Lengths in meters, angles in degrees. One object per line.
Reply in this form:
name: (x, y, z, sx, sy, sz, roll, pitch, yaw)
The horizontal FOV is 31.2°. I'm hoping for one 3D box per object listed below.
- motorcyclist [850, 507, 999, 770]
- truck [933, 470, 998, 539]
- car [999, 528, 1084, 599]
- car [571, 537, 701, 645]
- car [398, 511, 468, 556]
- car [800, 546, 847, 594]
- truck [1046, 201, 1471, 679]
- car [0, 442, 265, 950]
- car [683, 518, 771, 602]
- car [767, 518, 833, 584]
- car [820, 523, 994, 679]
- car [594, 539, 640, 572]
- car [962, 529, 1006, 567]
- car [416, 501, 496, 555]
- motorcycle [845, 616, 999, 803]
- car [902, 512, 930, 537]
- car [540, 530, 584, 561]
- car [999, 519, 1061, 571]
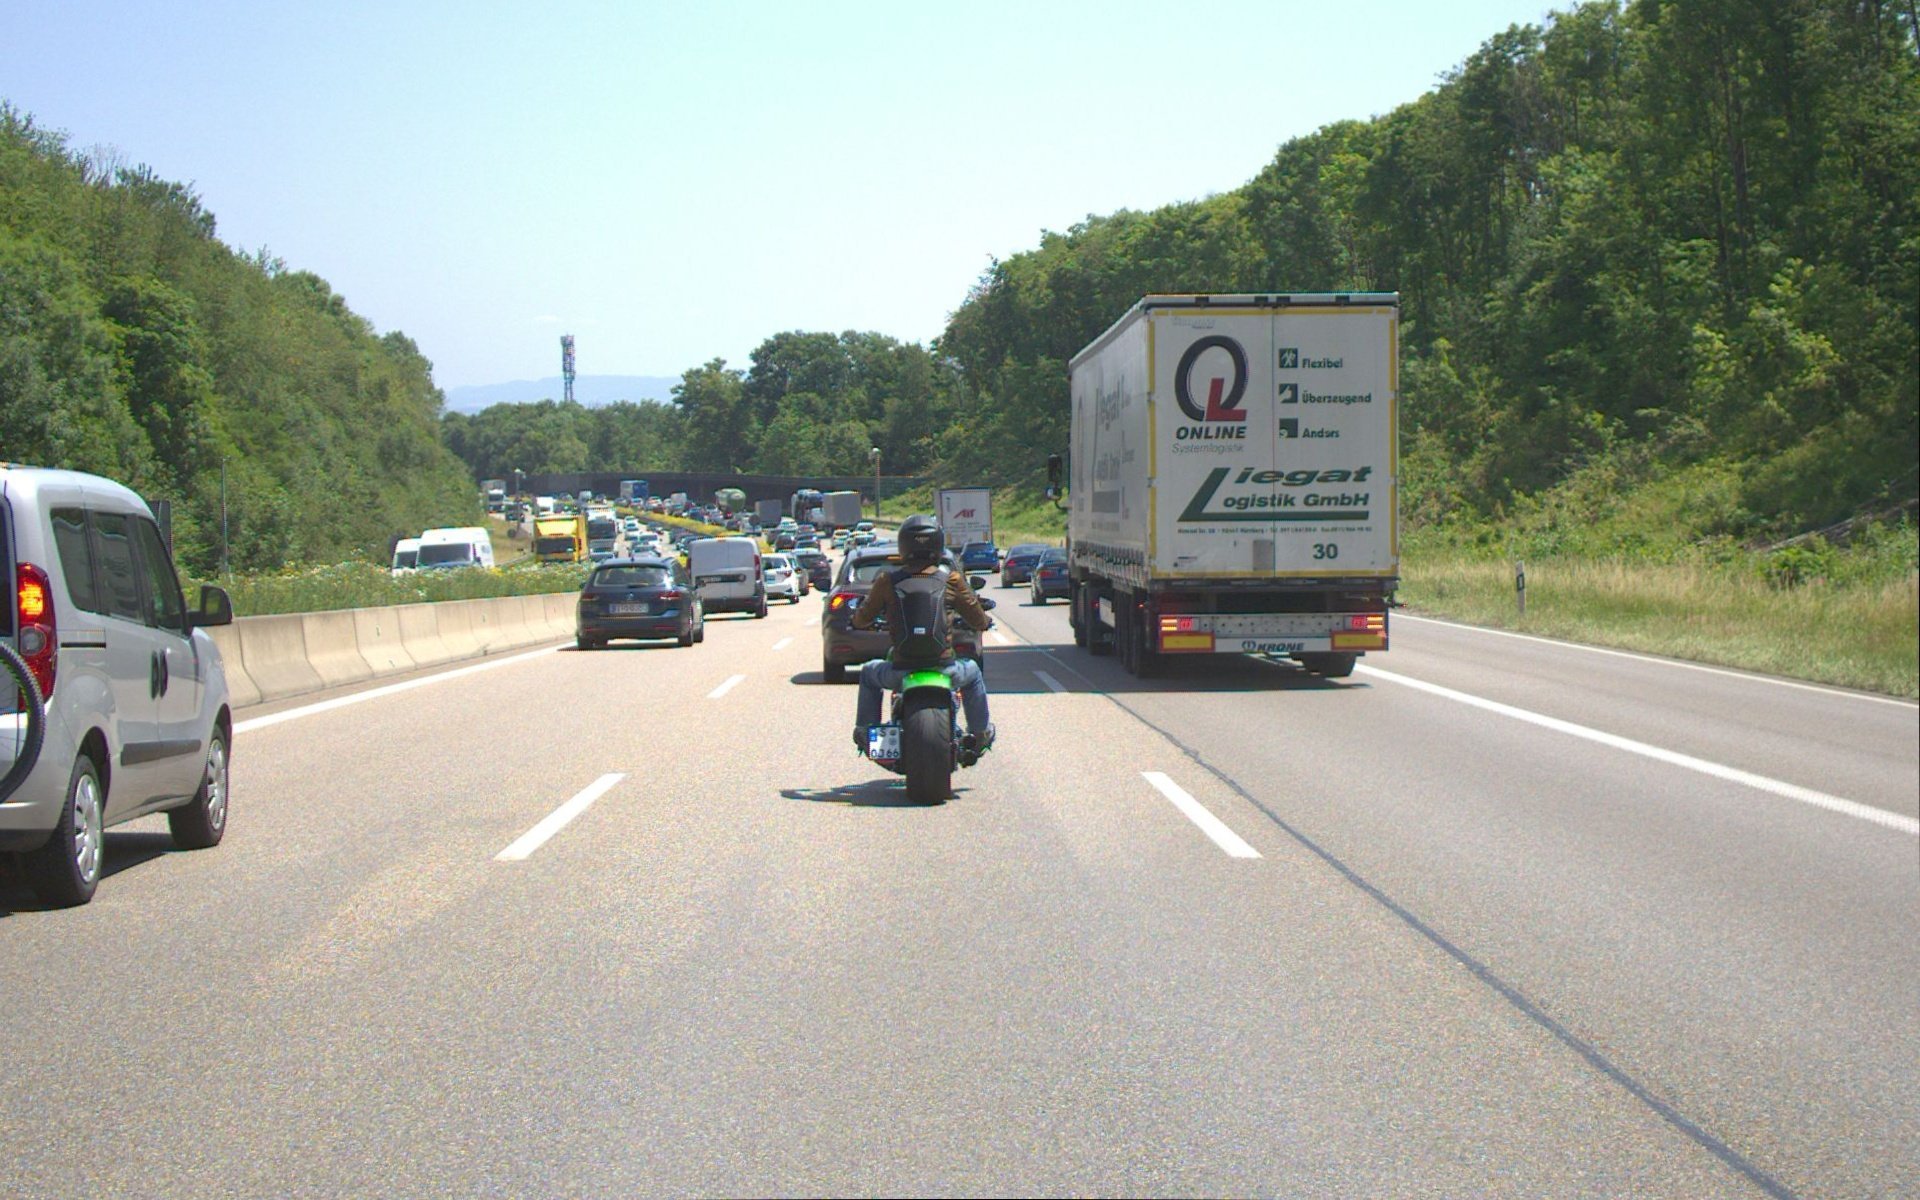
motorcyclist: (-0.203, 0.208, 20.176, 0.856, 1.509, 0.914, 0, 1, 0)
truck: (0.234, -4.908, 175.452, 3.067, 3.335, 9.653, 1, 2, -1)
car: (1.916, -0.887, 82.006, 1.831, 1.553, 4.121, 0, 2, -1)
car: (-5.148, -0.173, 55.017, 1.757, 1.538, 4.396, 0, 2, -1)
car: (-20.652, -2.595, 134.874, 1.911, 1.683, 4.832, 1, 1, 0)
car: (-5.565, -1.224, 140.389, 1.831, 1.804, 4.121, 0, 2, -1)
truck: (3.200, -1.931, 43.237, 3.383, 4.701, 17.711, 1, 2, -1)
car: (-4.481, 0.283, 15.018, 1.898, 1.841, 5.484, 0, 1, -1)
car: (-5.353, -0.952, 79.421, 1.831, 1.804, 4.121, 0, 2, -1)
car: (-4.663, -1.448, 100.591, 1.831, 1.804, 4.121, 0, 2, -1)
car: (-0.619, -0.037, 38.912, 1.845, 1.552, 4.440, 0, 2, -1)
car: (-18.006, -2.338, 180.580, 1.911, 1.683, 4.832, 1, 1, 0)
car: (1.051, -2.338, 153.238, 1.831, 1.553, 4.121, 0, 2, -1)
car: (-16.808, -2.386, 114.764, 1.911, 1.683, 4.832, 1, 1, 0)
motorcycle: (-0.212, 0.621, 20.330, 0.862, 0.978, 2.131, 0, 2, 0)
car: (-2.933, -5.049, 229.379, 1.831, 1.553, 4.121, 0, 2, -1)
car: (-23.042, -3.151, 198.977, 1.911, 1.683, 4.832, 1, 1, 0)
car: (2.253, -1.810, 112.296, 1.831, 1.553, 4.121, 0, 2, -1)
